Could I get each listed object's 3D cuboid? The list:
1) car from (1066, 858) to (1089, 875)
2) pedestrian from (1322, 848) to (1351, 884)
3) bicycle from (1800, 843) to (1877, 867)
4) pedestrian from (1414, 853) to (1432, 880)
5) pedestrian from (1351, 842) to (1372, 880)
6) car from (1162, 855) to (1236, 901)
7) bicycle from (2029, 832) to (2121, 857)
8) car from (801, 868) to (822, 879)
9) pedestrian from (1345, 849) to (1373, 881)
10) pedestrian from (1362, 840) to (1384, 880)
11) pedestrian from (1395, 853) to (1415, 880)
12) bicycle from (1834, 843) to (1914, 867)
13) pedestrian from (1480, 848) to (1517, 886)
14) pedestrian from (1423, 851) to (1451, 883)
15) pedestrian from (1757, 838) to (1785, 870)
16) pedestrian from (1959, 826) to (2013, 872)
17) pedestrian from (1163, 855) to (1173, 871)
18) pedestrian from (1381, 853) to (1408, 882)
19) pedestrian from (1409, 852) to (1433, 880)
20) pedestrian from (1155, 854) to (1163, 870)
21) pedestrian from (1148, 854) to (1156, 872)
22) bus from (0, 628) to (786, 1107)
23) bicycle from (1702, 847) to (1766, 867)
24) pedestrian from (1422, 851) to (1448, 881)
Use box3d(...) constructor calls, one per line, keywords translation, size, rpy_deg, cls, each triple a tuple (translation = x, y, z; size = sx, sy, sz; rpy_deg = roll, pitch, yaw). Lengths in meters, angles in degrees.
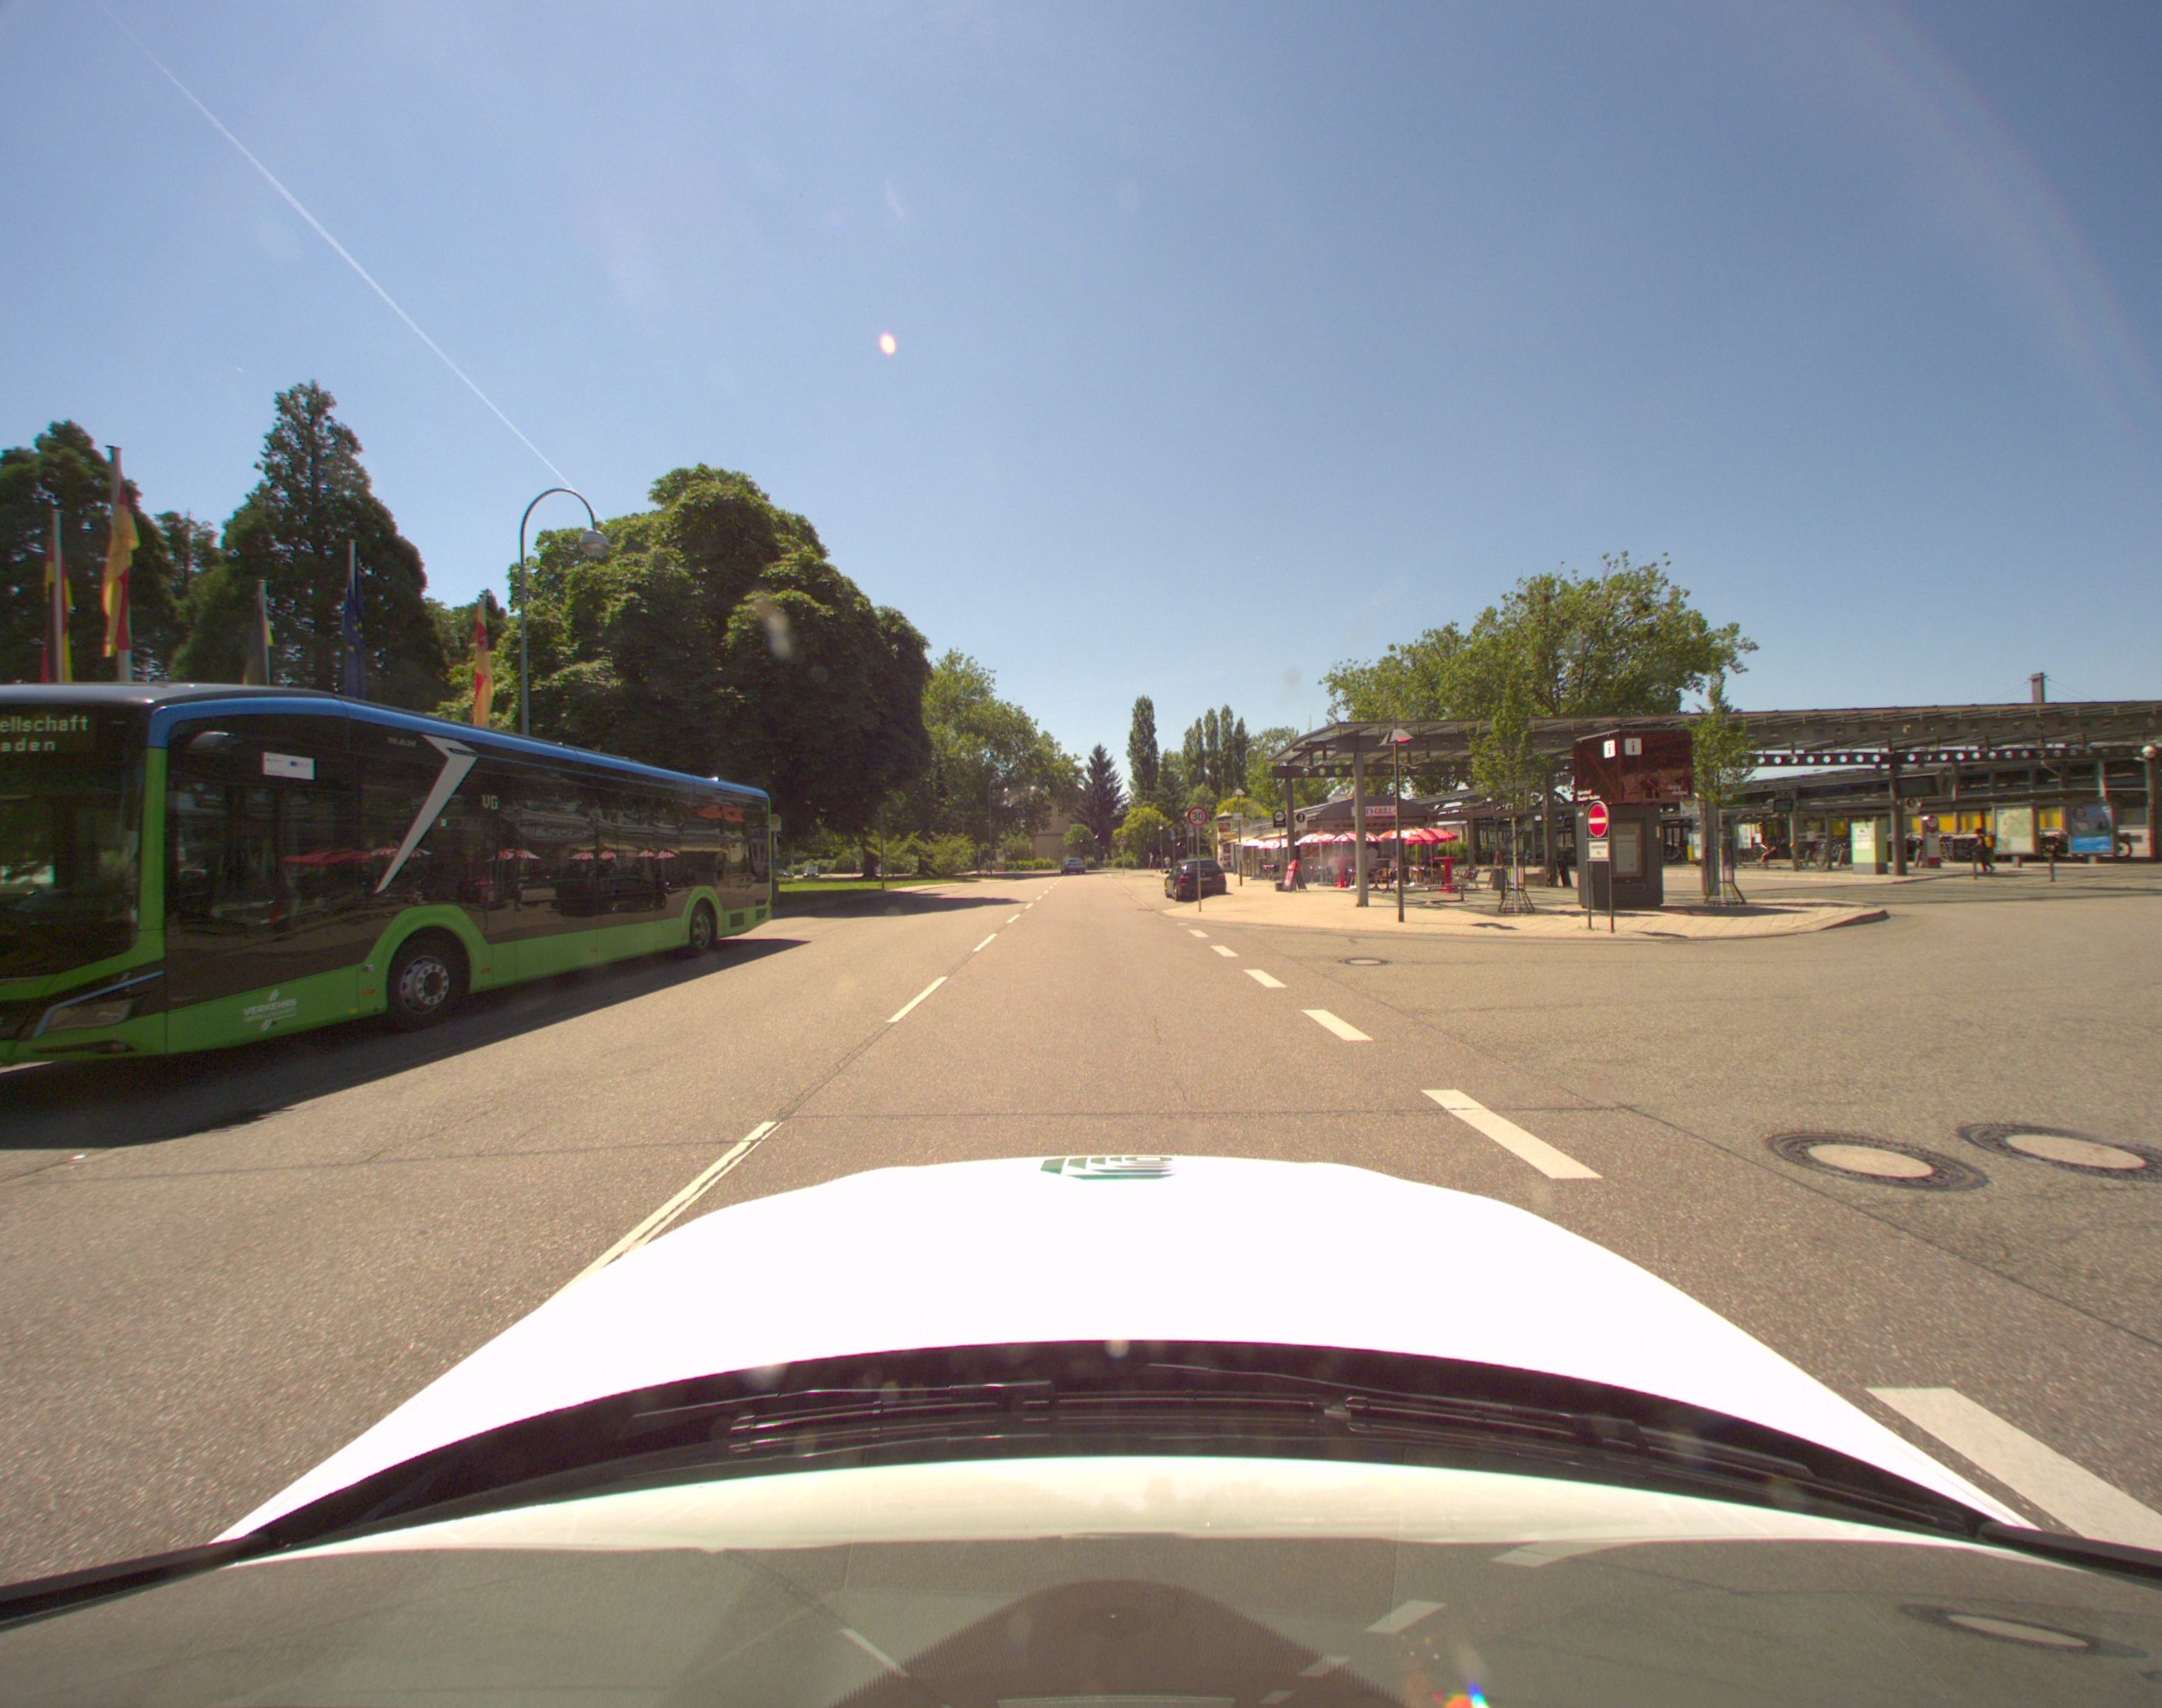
box3d(translation=(-0.325, 1.286, 83.407), size=(1.974, 1.627, 4.784), rpy_deg=(-2, 0, 4), cls="car")
box3d(translation=(10.193, 0.484, 32.535), size=(0.899, 1.418, 0.681), rpy_deg=(-1, -1, -38), cls="pedestrian")
box3d(translation=(34.235, 0.059, 36.820), size=(2.779, 1.004, 0.810), rpy_deg=(1, -1, -3), cls="bicycle")
box3d(translation=(15.117, 0.558, 35.970), size=(0.650, 1.205, 0.595), rpy_deg=(0, -1, 15), cls="pedestrian")
box3d(translation=(12.909, 0.321, 37.505), size=(0.684, 1.738, 0.707), rpy_deg=(-1, -1, 0), cls="pedestrian")
box3d(translation=(4.295, 0.831, 30.333), size=(1.921, 1.460, 4.723), rpy_deg=(-4, 0, -1), cls="car")
box3d(translation=(41.836, -0.398, 34.294), size=(2.779, 1.004, 0.966), rpy_deg=(1, -1, -2), cls="bicycle")
box3d(translation=(-34.422, 2.473, 104.084), size=(1.547, 1.410, 3.797), rpy_deg=(-1, 0, -4), cls="car")
box3d(translation=(11.650, 0.474, 34.138), size=(0.898, 1.312, 0.681), rpy_deg=(-1, -1, -35), cls="pedestrian")
box3d(translation=(12.906, 0.271, 35.992), size=(0.684, 1.738, 0.707), rpy_deg=(-1, -1, 0), cls="pedestrian")
box3d(translation=(14.302, 0.547, 35.970), size=(0.653, 1.205, 0.592), rpy_deg=(1, -1, -1), cls="pedestrian")
box3d(translation=(34.533, 0.038, 35.475), size=(2.779, 1.004, 0.810), rpy_deg=(1, -1, -3), cls="bicycle")
box3d(translation=(14.461, 0.440, 28.237), size=(0.841, 1.277, 0.896), rpy_deg=(-1, -1, 4), cls="pedestrian")
box3d(translation=(13.126, 0.468, 30.027), size=(0.683, 1.161, 0.896), rpy_deg=(-1, 0, 4), cls="pedestrian")
box3d(translation=(31.491, 0.000, 37.155), size=(0.623, 1.395, 0.676), rpy_deg=(-3, -1, 0), cls="pedestrian")
box3d(translation=(31.632, -0.170, 28.480), size=(0.919, 1.590, 0.857), rpy_deg=(-1, 0, 1), cls="pedestrian")
box3d(translation=(9.080, 0.913, 85.015), size=(0.713, 1.650, 0.755), rpy_deg=(-2, -3, 28), cls="pedestrian")
box3d(translation=(13.109, 0.568, 34.050), size=(0.898, 1.161, 0.681), rpy_deg=(-1, -1, -35), cls="pedestrian")
box3d(translation=(14.623, 0.514, 35.044), size=(0.756, 1.205, 0.737), rpy_deg=(1, -1, 0), cls="pedestrian")
box3d(translation=(7.996, 0.807, 83.548), size=(0.629, 1.650, 0.755), rpy_deg=(-2, -3, 28), cls="pedestrian")
box3d(translation=(7.951, 0.979, 91.364), size=(0.850, 1.965, 0.807), rpy_deg=(-1, -1, 5), cls="pedestrian")
box3d(translation=(-7.978, 0.114, 11.809), size=(2.800, 3.283, 12.423), rpy_deg=(-1, 0, 0), cls="bus")
box3d(translation=(34.245, 0.169, 42.718), size=(2.779, 1.004, 0.810), rpy_deg=(1, -1, -3), cls="bicycle")
box3d(translation=(14.671, 0.491, 33.777), size=(0.756, 1.205, 0.737), rpy_deg=(1, -1, 0), cls="pedestrian")
